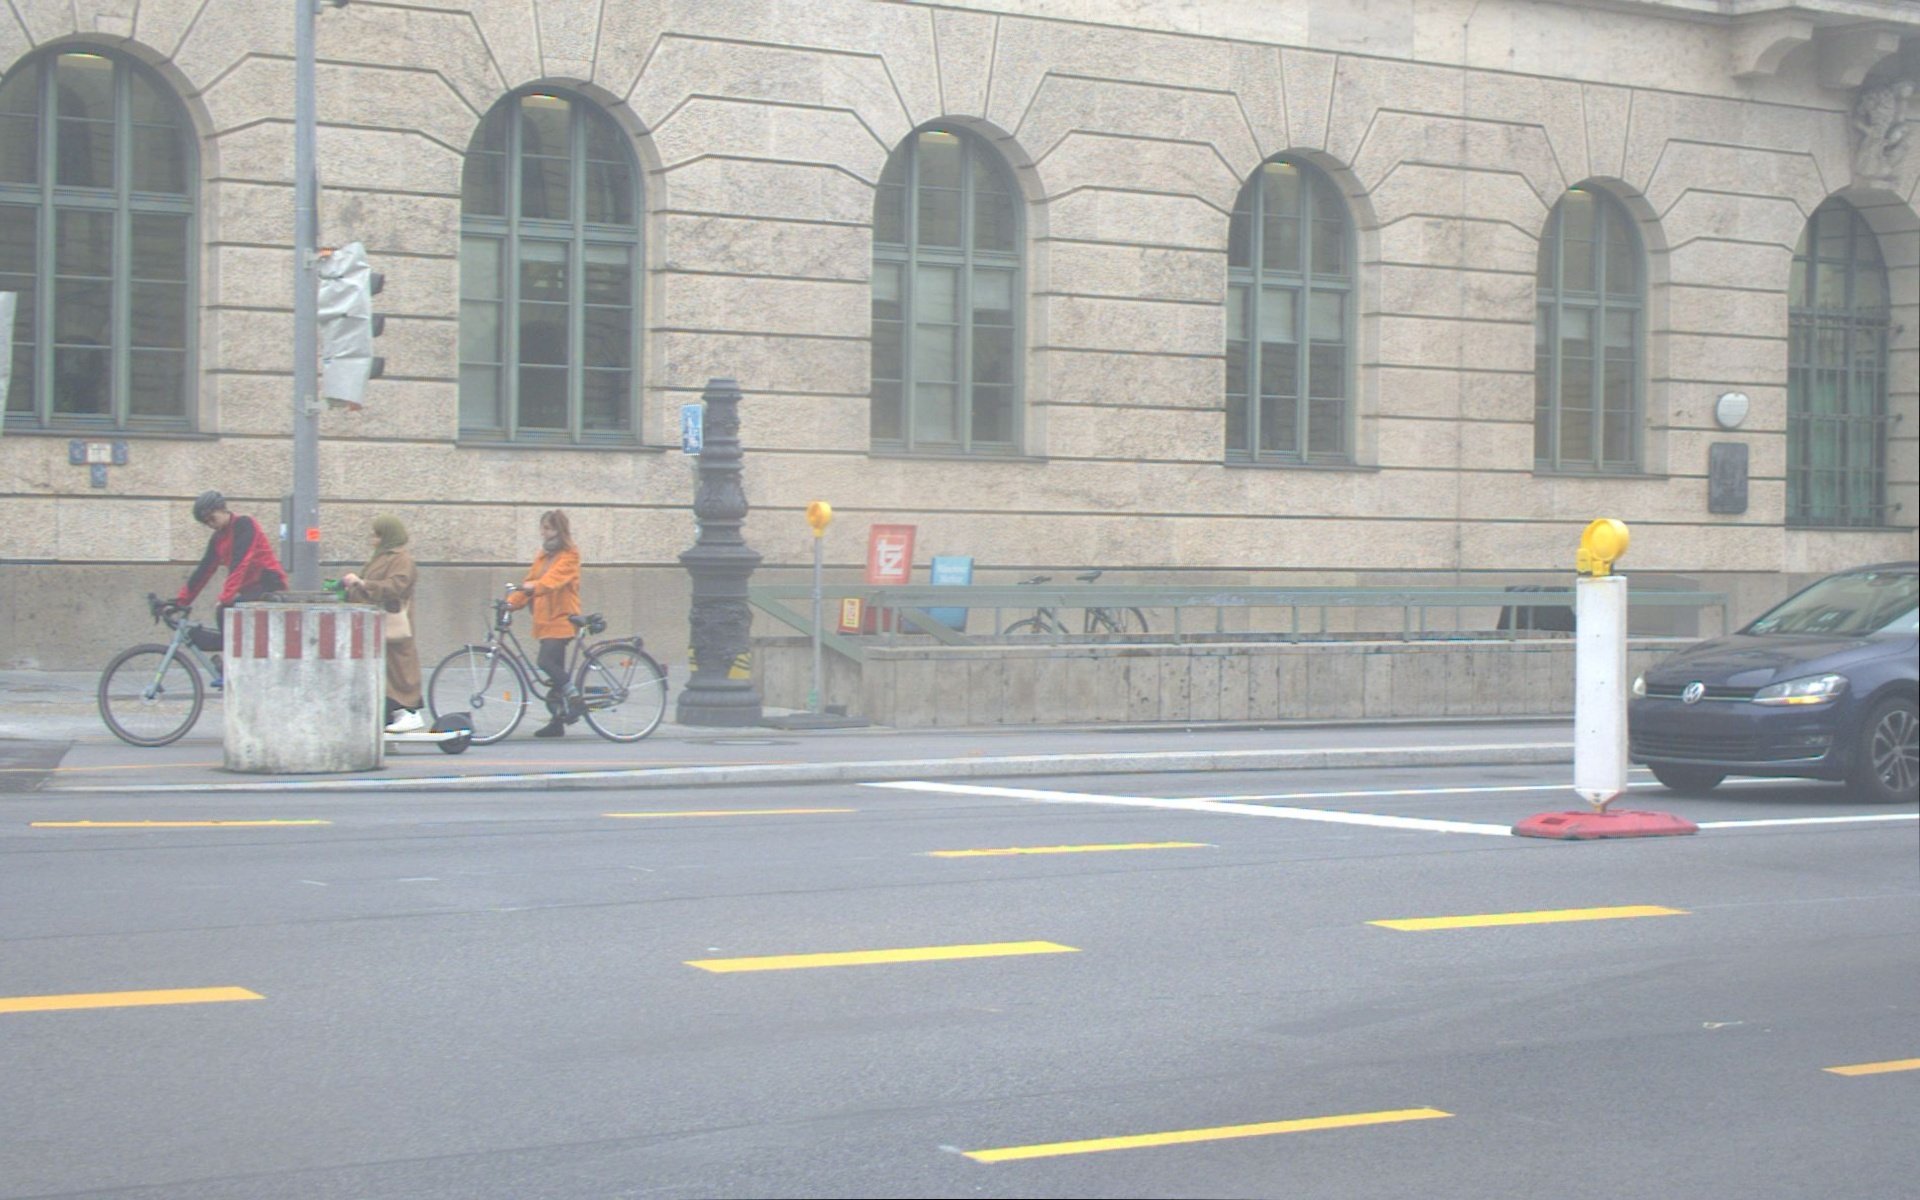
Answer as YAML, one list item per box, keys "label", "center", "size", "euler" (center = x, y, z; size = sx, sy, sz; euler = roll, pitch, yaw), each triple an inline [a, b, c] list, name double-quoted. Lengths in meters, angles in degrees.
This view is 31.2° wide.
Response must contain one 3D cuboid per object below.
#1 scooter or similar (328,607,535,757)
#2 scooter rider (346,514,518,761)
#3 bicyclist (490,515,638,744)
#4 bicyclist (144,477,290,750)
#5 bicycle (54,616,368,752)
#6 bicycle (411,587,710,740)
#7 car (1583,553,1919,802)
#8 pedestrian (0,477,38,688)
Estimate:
- label: "scooter or similar"
  center: [-3.550, 0.551, 23.110]
  size: [1.211, 0.961, 0.588]
  euler: [2, 1, -33]
- label: "scooter rider"
  center: [-3.548, 0.252, 23.101]
  size: [0.932, 1.617, 0.592]
  euler: [2, 1, -33]
- label: "bicyclist"
  center: [-2.857, 0.207, 24.777]
  size: [0.744, 1.609, 0.795]
  euler: [2, 1, -32]
- label: "bicyclist"
  center: [-5.098, 0.091, 23.567]
  size: [0.744, 1.836, 0.660]
  euler: [2, 1, -32]
- label: "bicycle"
  center: [-5.123, 0.579, 23.569]
  size: [1.972, 0.876, 0.661]
  euler: [2, 1, -32]
- label: "bicycle"
  center: [-2.870, 0.463, 24.773]
  size: [1.958, 1.037, 0.795]
  euler: [2, 1, -32]
- label: "car"
  center: [5.974, 0.462, 21.063]
  size: [4.227, 1.383, 1.749]
  euler: [1, 0, -35]
- label: "pedestrian"
  center: [-7.980, -0.154, 27.855]
  size: [0.715, 1.688, 0.820]
  euler: [2, 1, -33]
